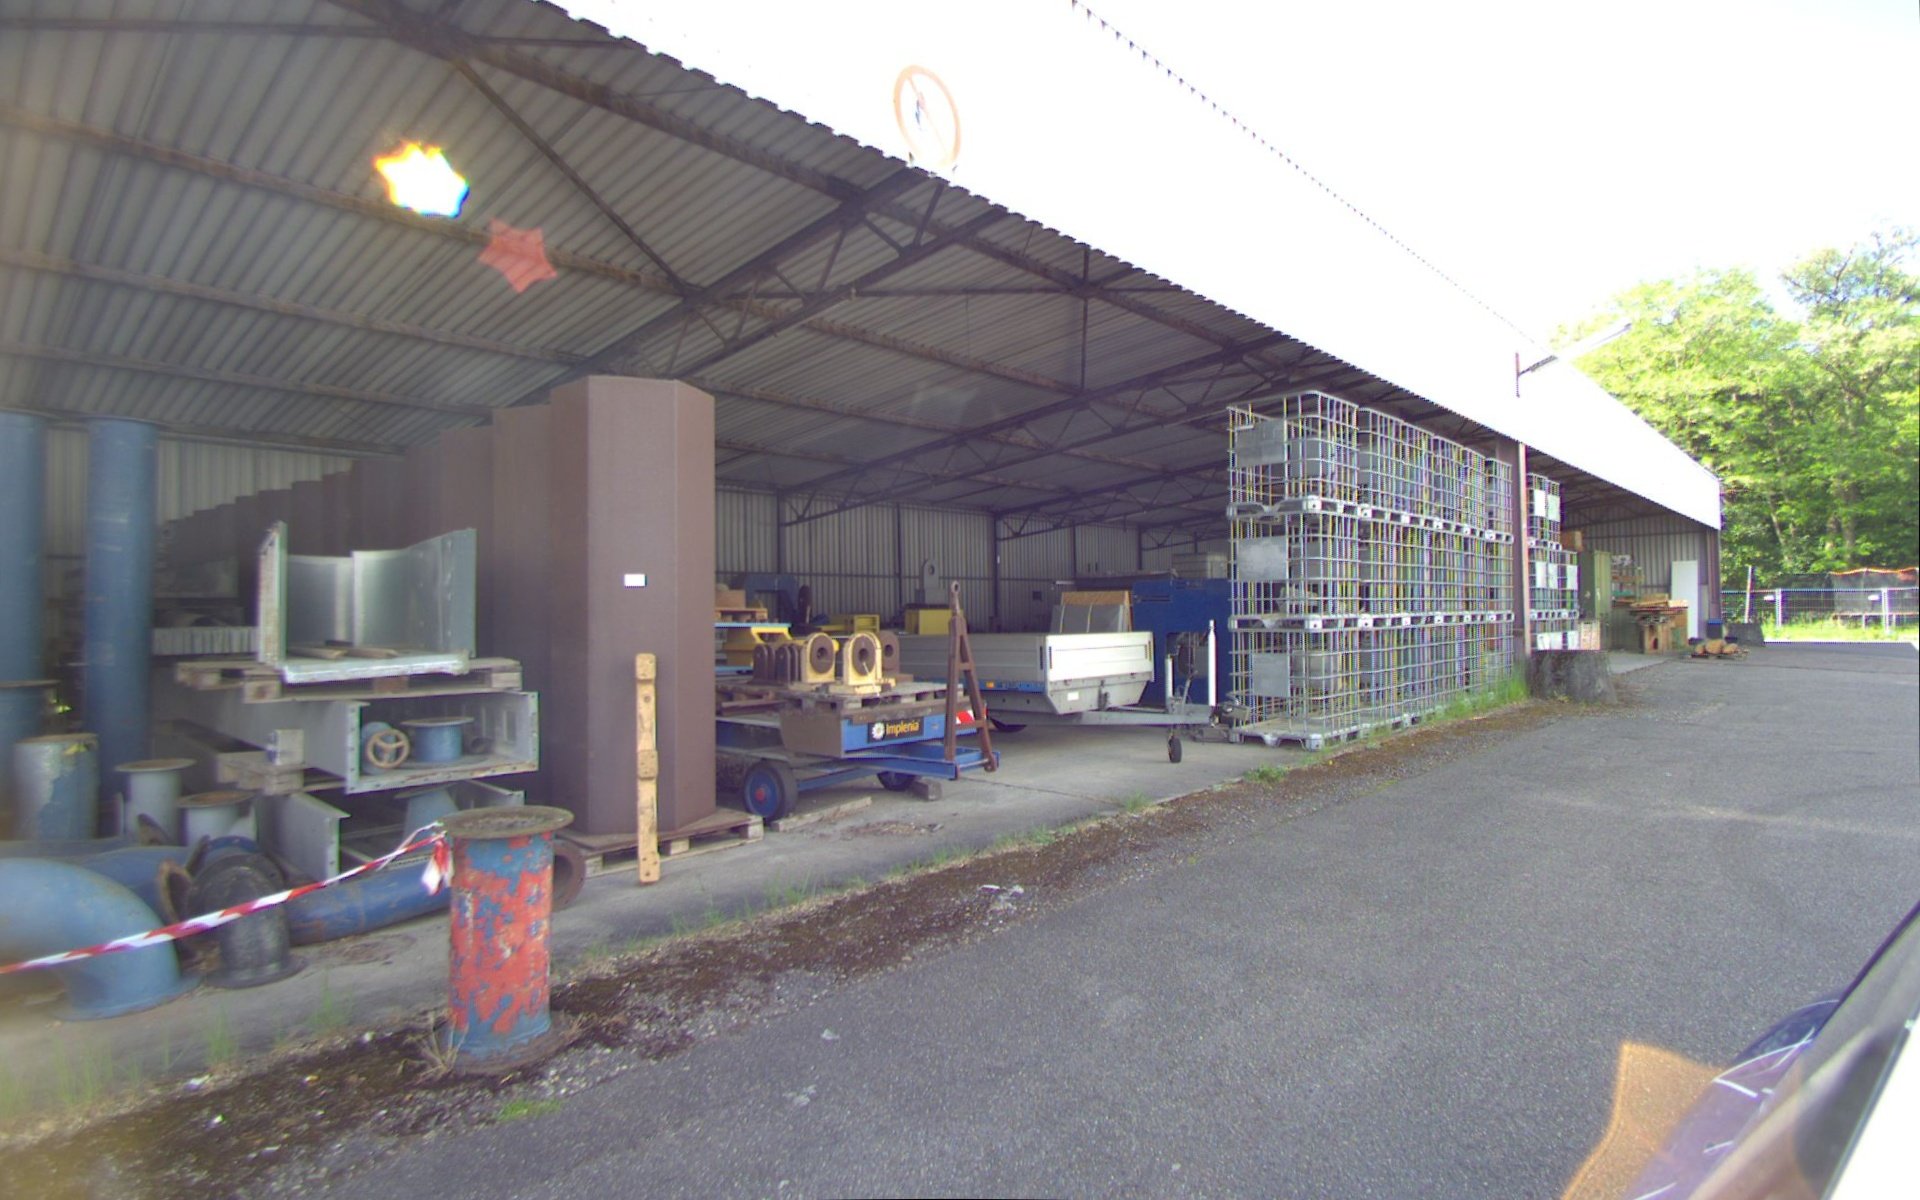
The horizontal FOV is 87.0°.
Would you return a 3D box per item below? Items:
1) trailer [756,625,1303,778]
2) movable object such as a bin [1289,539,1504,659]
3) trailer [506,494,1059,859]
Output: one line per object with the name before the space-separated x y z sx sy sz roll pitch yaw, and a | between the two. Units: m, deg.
trailer | 0.406 0.856 10.586 5.729 1.147 1.978 -1 -1 42
movable object such as a bin | 10.916 -0.005 25.506 4.611 2.757 1.970 0 -1 42
trailer | -1.696 0.410 8.061 2.013 2.022 4.821 0 0 -44
